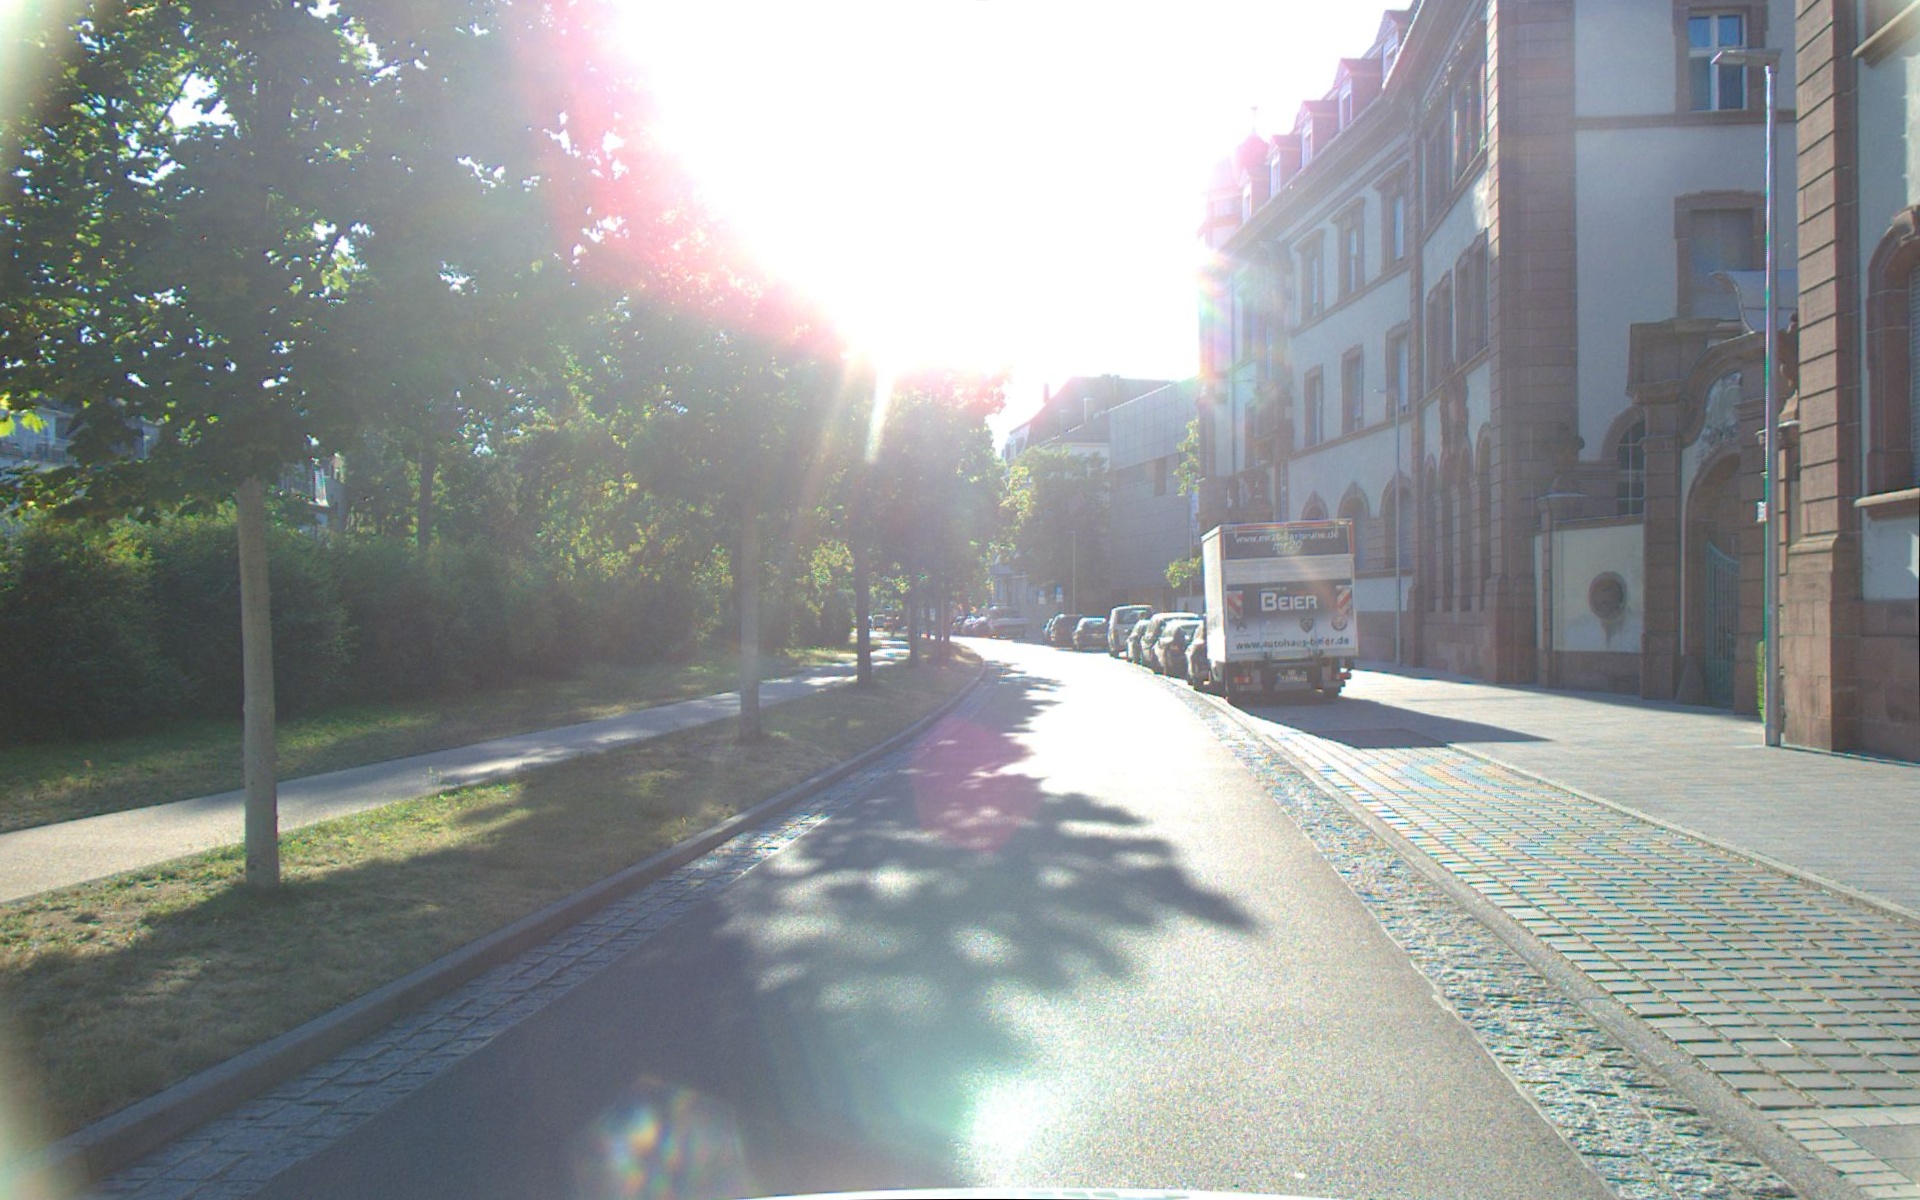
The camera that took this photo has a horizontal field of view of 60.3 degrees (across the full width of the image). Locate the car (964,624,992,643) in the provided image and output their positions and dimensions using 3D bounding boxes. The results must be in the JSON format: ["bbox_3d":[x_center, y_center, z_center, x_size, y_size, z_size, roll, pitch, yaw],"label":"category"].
[{"bbox_3d":[1.420,2.693,134.014,1.659,1.466,4.096,-1,-1,-8],"label":"car"}]

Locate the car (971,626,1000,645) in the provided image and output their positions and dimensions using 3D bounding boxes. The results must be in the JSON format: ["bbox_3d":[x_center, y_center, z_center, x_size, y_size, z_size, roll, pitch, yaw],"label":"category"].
[{"bbox_3d":[1.982,2.783,129.384,1.659,1.466,3.543,-1,-1,-8],"label":"car"}]

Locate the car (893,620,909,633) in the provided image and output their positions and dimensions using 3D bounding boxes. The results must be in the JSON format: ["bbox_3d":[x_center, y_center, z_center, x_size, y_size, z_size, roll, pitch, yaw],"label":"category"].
[{"bbox_3d":[-6.876,3.063,192.746,1.758,1.536,3.996,1,-1,-4],"label":"car"}]

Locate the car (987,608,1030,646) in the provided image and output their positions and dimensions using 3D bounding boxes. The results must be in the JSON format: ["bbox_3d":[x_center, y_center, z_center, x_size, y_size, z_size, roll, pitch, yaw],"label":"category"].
[{"bbox_3d":[3.449,1.908,118.384,2.169,2.574,6.138,-2,-1,-7],"label":"car"}]

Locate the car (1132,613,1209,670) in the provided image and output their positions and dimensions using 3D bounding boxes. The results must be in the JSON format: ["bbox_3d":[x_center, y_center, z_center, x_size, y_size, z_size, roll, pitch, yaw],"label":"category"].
[{"bbox_3d":[6.482,1.262,51.281,1.779,1.630,4.191,-1,-1,-1],"label":"car"}]

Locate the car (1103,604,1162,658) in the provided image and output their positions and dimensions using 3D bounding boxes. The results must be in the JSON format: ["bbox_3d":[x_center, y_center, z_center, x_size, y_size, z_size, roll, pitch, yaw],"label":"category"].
[{"bbox_3d":[6.939,1.271,67.024,1.952,2.000,4.850,-3,-1,2],"label":"car"}]

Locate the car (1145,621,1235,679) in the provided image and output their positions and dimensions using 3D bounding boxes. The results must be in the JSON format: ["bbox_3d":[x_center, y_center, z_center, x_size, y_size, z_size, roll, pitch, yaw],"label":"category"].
[{"bbox_3d":[6.305,1.351,45.701,1.833,1.461,4.522,-2,-1,0],"label":"car"}]

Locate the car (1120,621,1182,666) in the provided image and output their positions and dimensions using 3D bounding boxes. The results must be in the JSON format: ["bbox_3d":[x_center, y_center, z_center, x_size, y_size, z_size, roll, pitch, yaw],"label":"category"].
[{"bbox_3d":[6.463,1.449,56.305,1.644,1.427,4.200,-2,-1,1],"label":"car"}]

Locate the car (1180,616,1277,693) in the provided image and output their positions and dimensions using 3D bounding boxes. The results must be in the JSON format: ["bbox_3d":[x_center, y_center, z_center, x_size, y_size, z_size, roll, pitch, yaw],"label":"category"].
[{"bbox_3d":[5.906,1.161,36.767,1.731,1.557,4.574,-2,-1,5],"label":"car"}]

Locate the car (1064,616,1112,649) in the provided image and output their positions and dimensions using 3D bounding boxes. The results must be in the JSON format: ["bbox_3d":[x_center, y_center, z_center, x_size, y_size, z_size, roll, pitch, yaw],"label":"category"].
[{"bbox_3d":[6.089,1.531,78.990,1.713,1.492,4.474,0,-1,-3],"label":"car"}]

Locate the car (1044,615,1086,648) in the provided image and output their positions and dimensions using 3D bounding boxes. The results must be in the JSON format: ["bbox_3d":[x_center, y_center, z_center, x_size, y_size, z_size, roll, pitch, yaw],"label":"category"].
[{"bbox_3d":[5.636,1.679,89.203,1.690,1.698,4.110,-1,0,-5],"label":"car"}]

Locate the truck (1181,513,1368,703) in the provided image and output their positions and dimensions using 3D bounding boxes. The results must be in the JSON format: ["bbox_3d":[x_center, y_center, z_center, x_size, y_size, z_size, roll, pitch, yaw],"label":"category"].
[{"bbox_3d":[5.726,0.162,31.010,2.569,3.175,6.089,-1,-1,3],"label":"truck"}]
